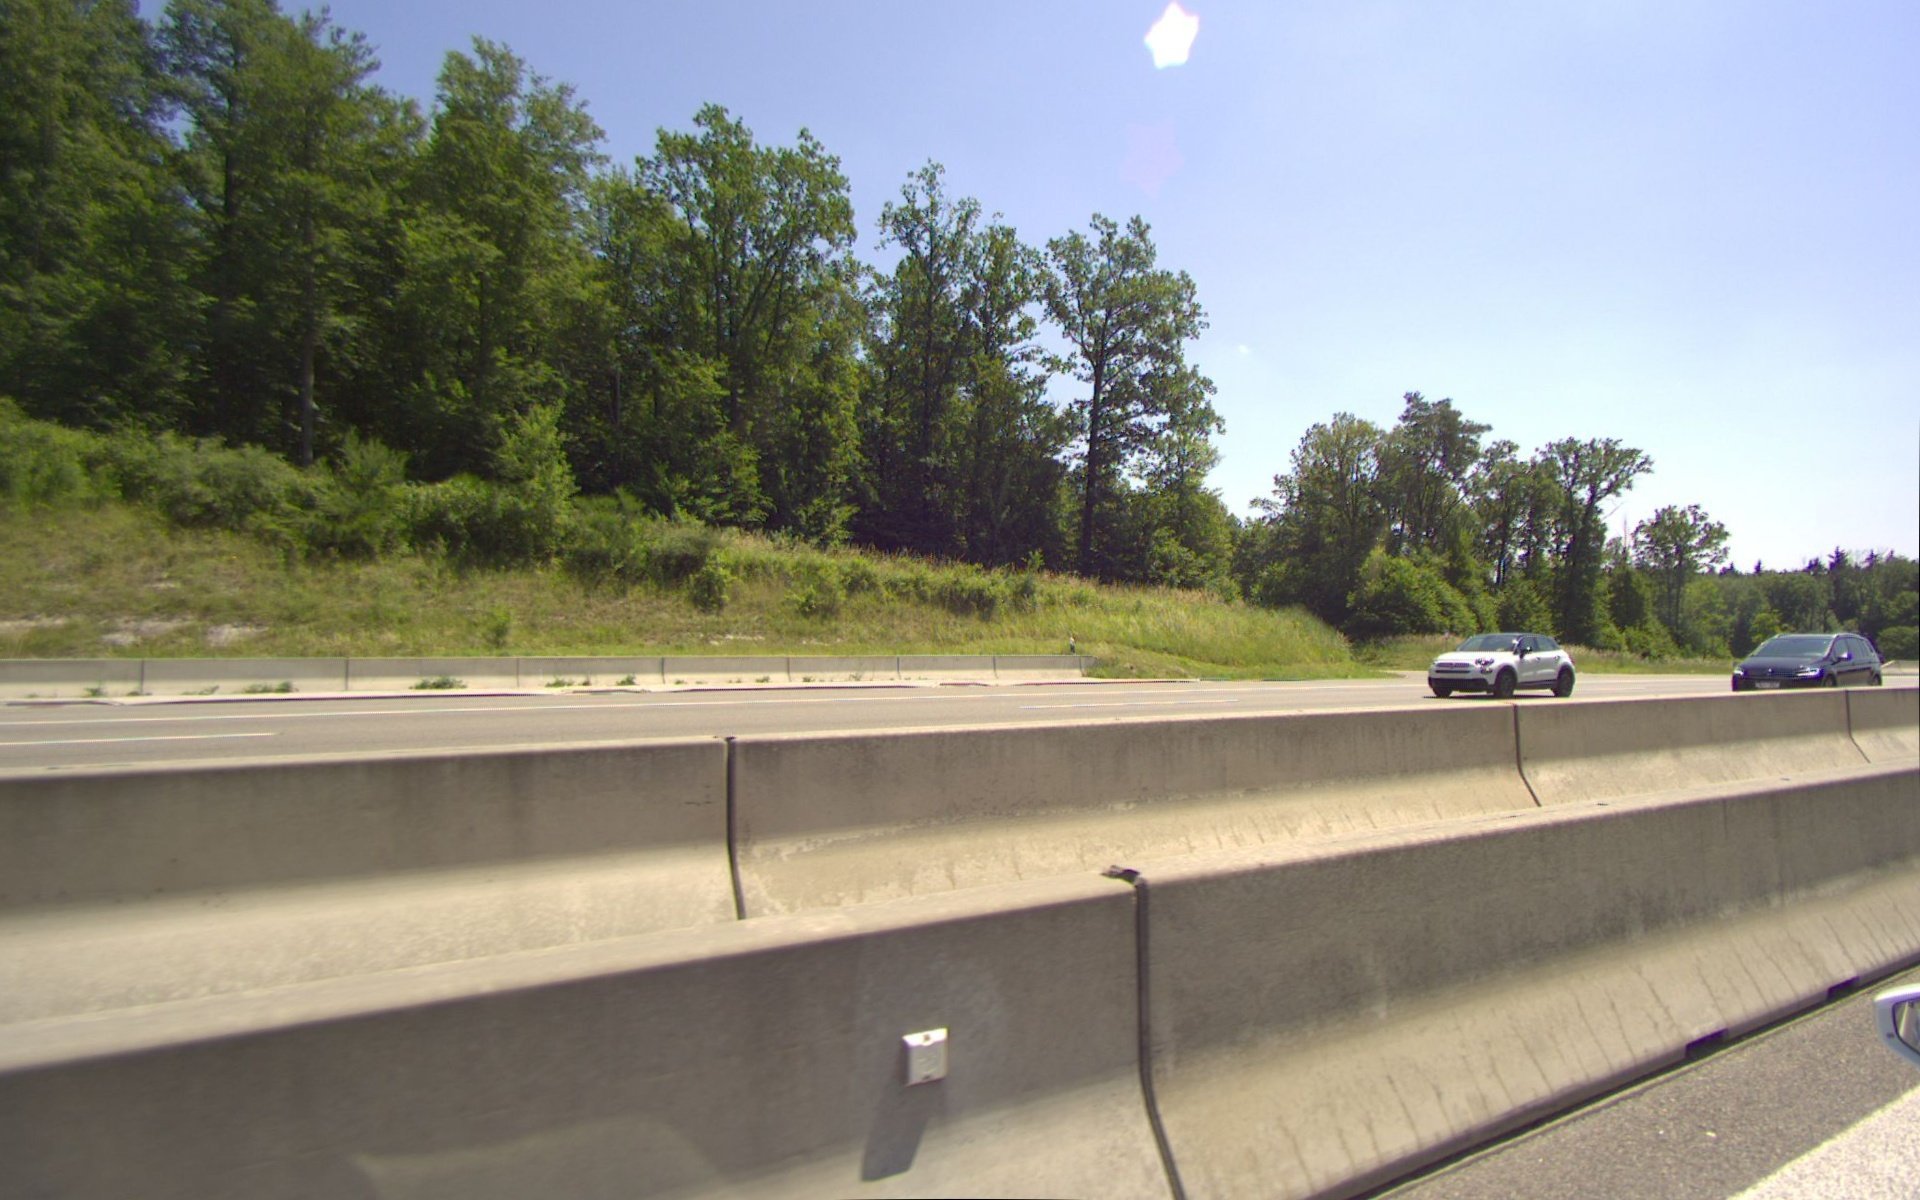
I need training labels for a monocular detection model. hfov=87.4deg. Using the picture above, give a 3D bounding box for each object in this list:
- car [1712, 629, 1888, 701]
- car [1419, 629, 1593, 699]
[{"bbox_3d":[20.342,1.527,24.275,4.673,1.569,1.793,2,-1,-30],"label":"car"},{"bbox_3d":[13.489,1.563,24.784,4.370,1.582,1.736,2,-3,-30],"label":"car"}]
